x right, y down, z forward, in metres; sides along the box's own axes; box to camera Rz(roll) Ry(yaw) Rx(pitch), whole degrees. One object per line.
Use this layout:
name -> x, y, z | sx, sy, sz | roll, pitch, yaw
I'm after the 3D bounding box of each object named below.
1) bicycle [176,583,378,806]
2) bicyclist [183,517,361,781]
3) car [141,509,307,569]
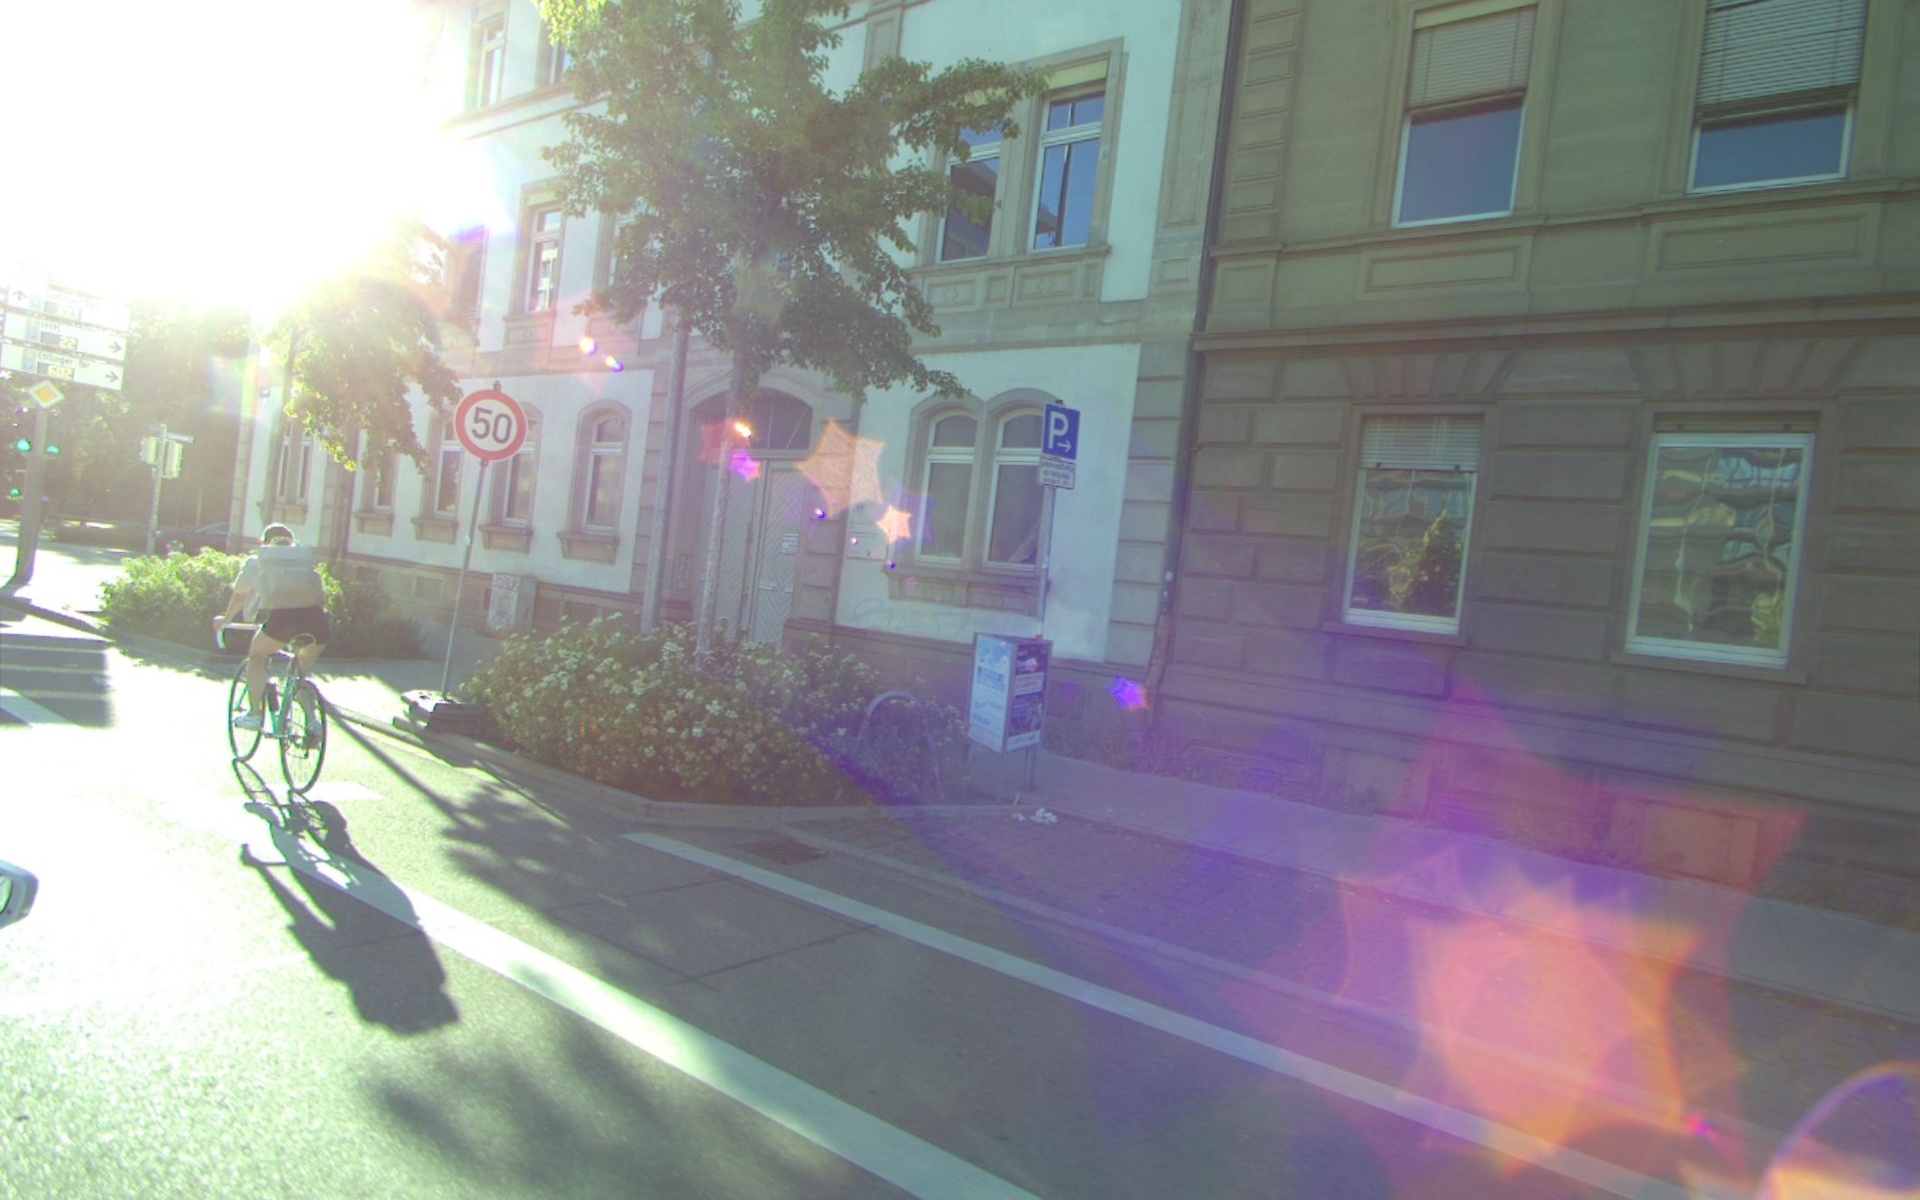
bicycle -> -4.407, 0.546, 6.430 | 1.816, 1.111, 0.520 | 7, 1, 40
bicyclist -> -4.410, 0.285, 6.428 | 1.065, 1.509, 0.552 | 7, 1, 40
car -> -26.237, -2.141, 36.095 | 4.553, 1.492, 1.888 | 7, -1, -31
